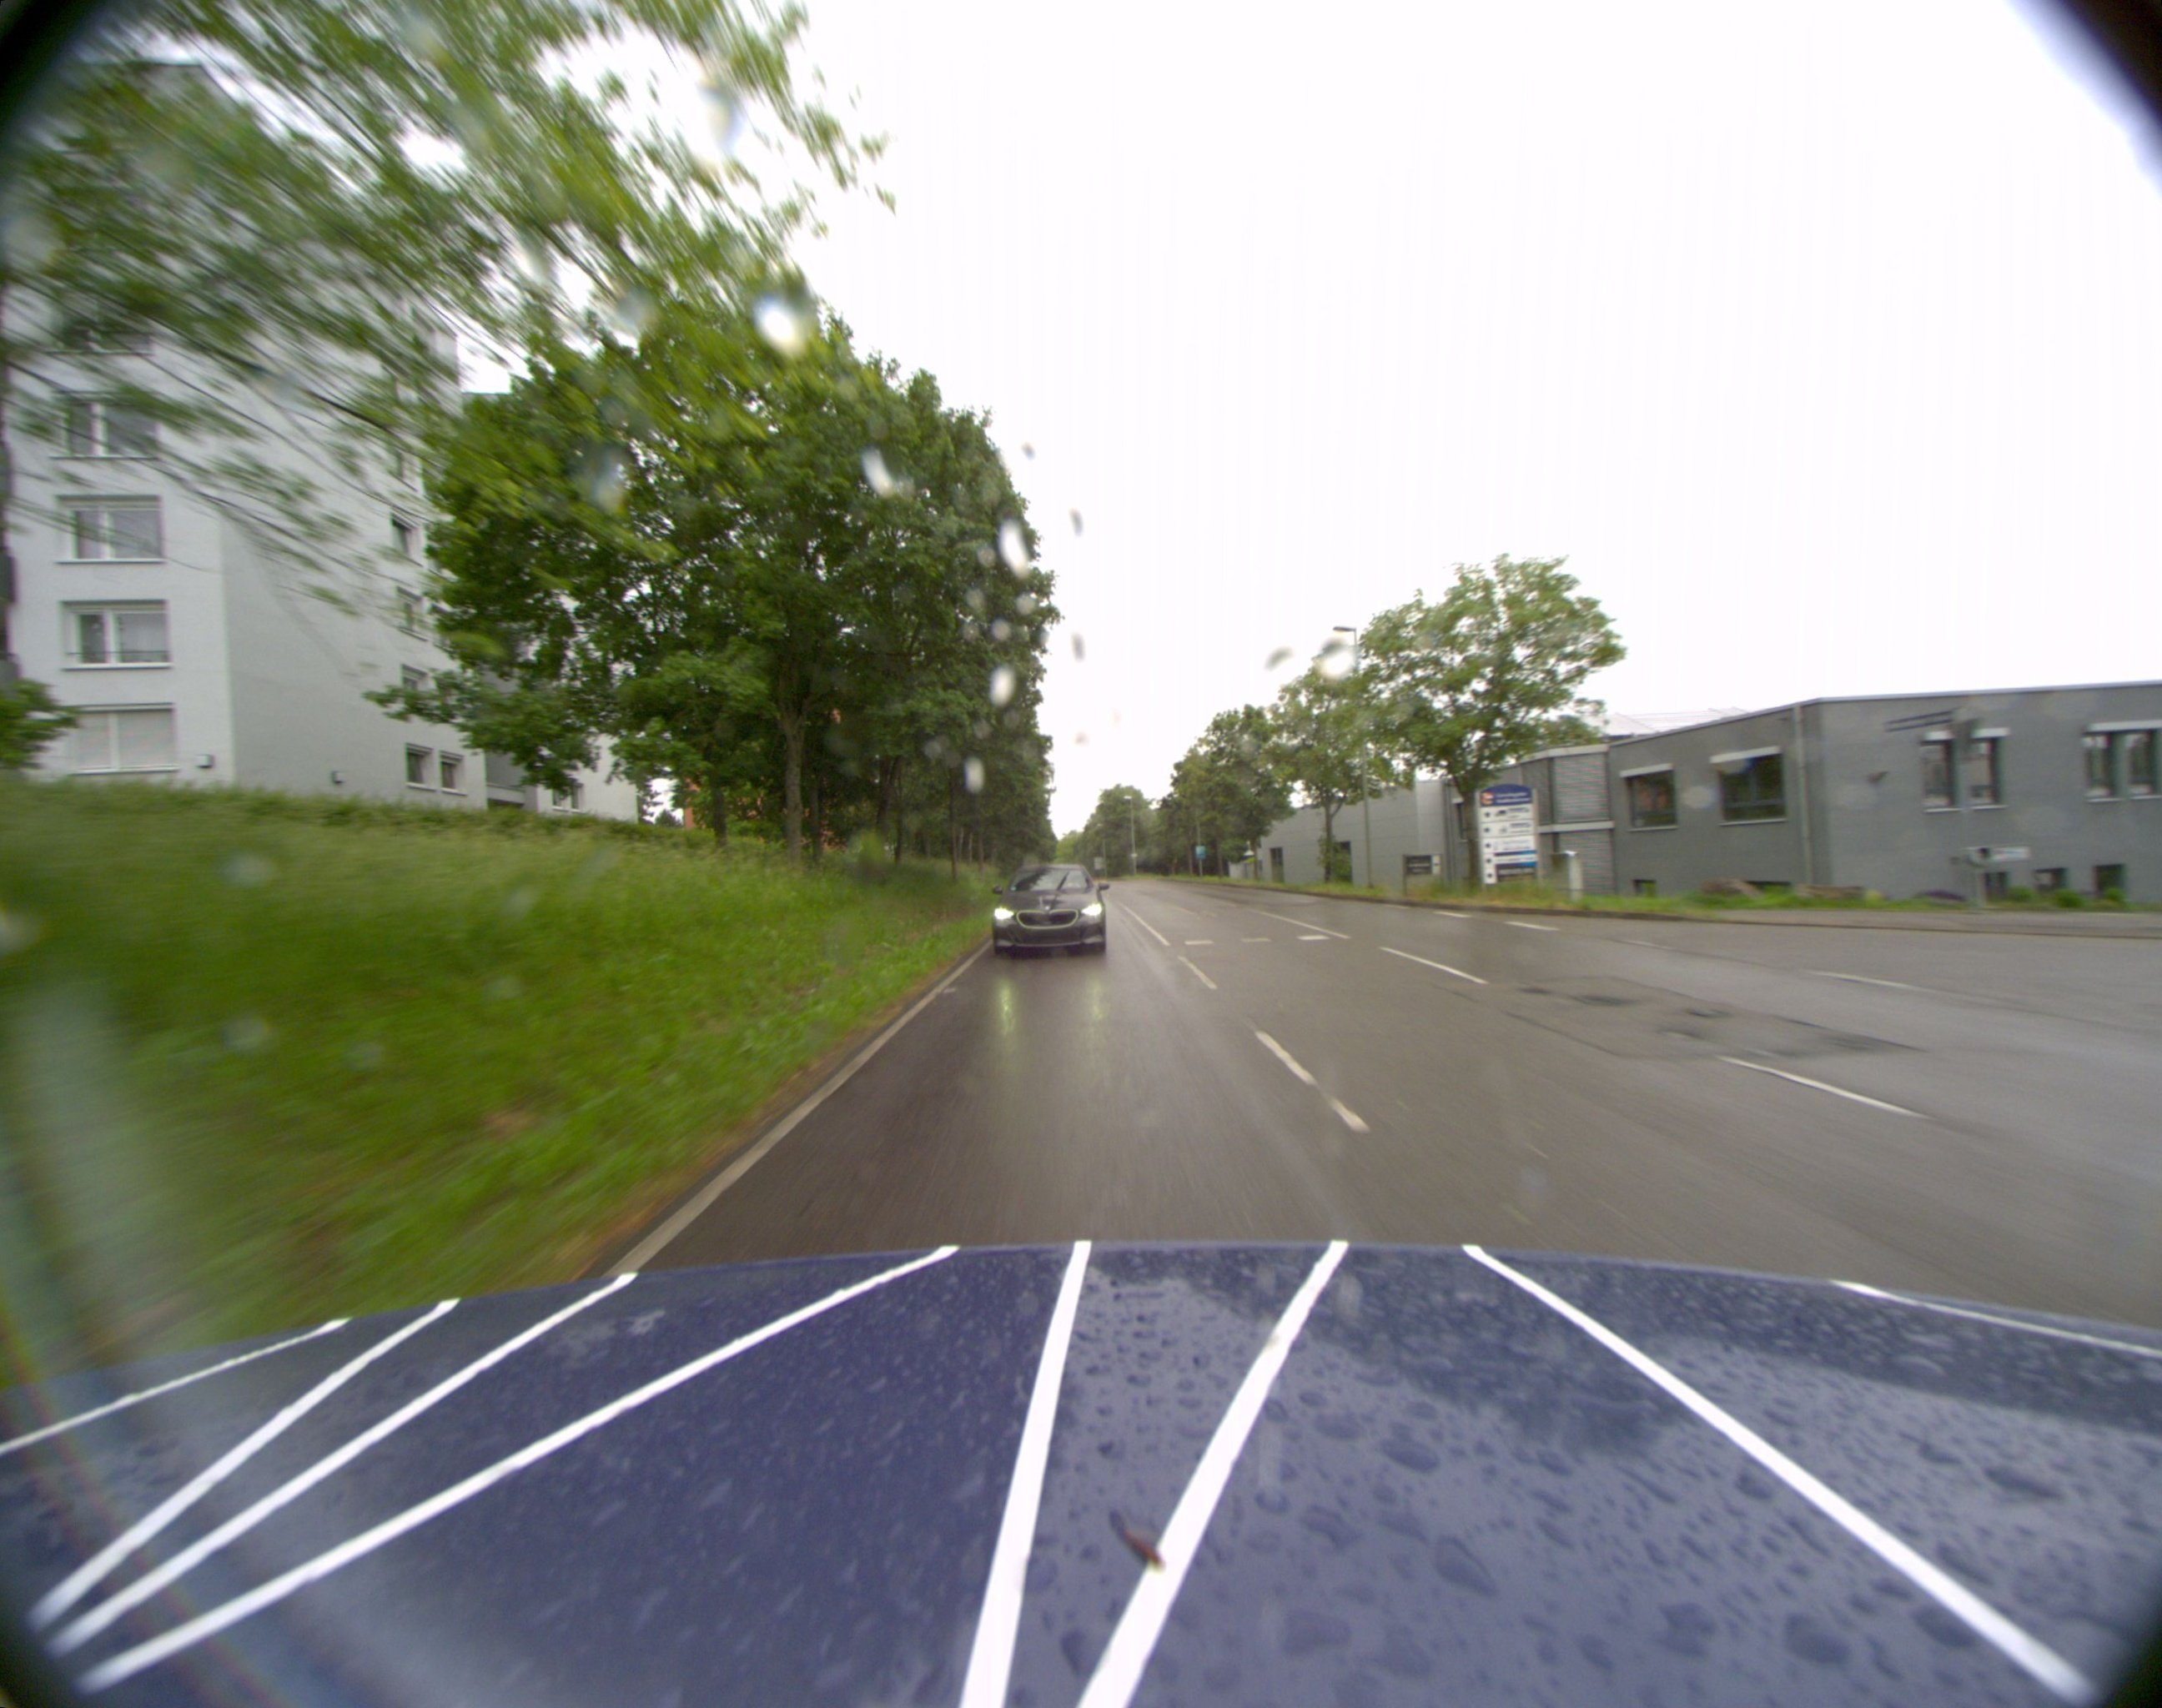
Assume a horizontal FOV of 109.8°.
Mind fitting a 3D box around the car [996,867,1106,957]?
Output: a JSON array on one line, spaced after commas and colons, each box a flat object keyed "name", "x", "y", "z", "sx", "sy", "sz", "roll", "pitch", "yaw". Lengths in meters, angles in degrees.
[{"name": "car", "x": -0.568, "y": 1.076, "z": 15.291, "sx": 1.845, "sy": 1.471, "sz": 4.001, "roll": -3, "pitch": -2, "yaw": -1}]
